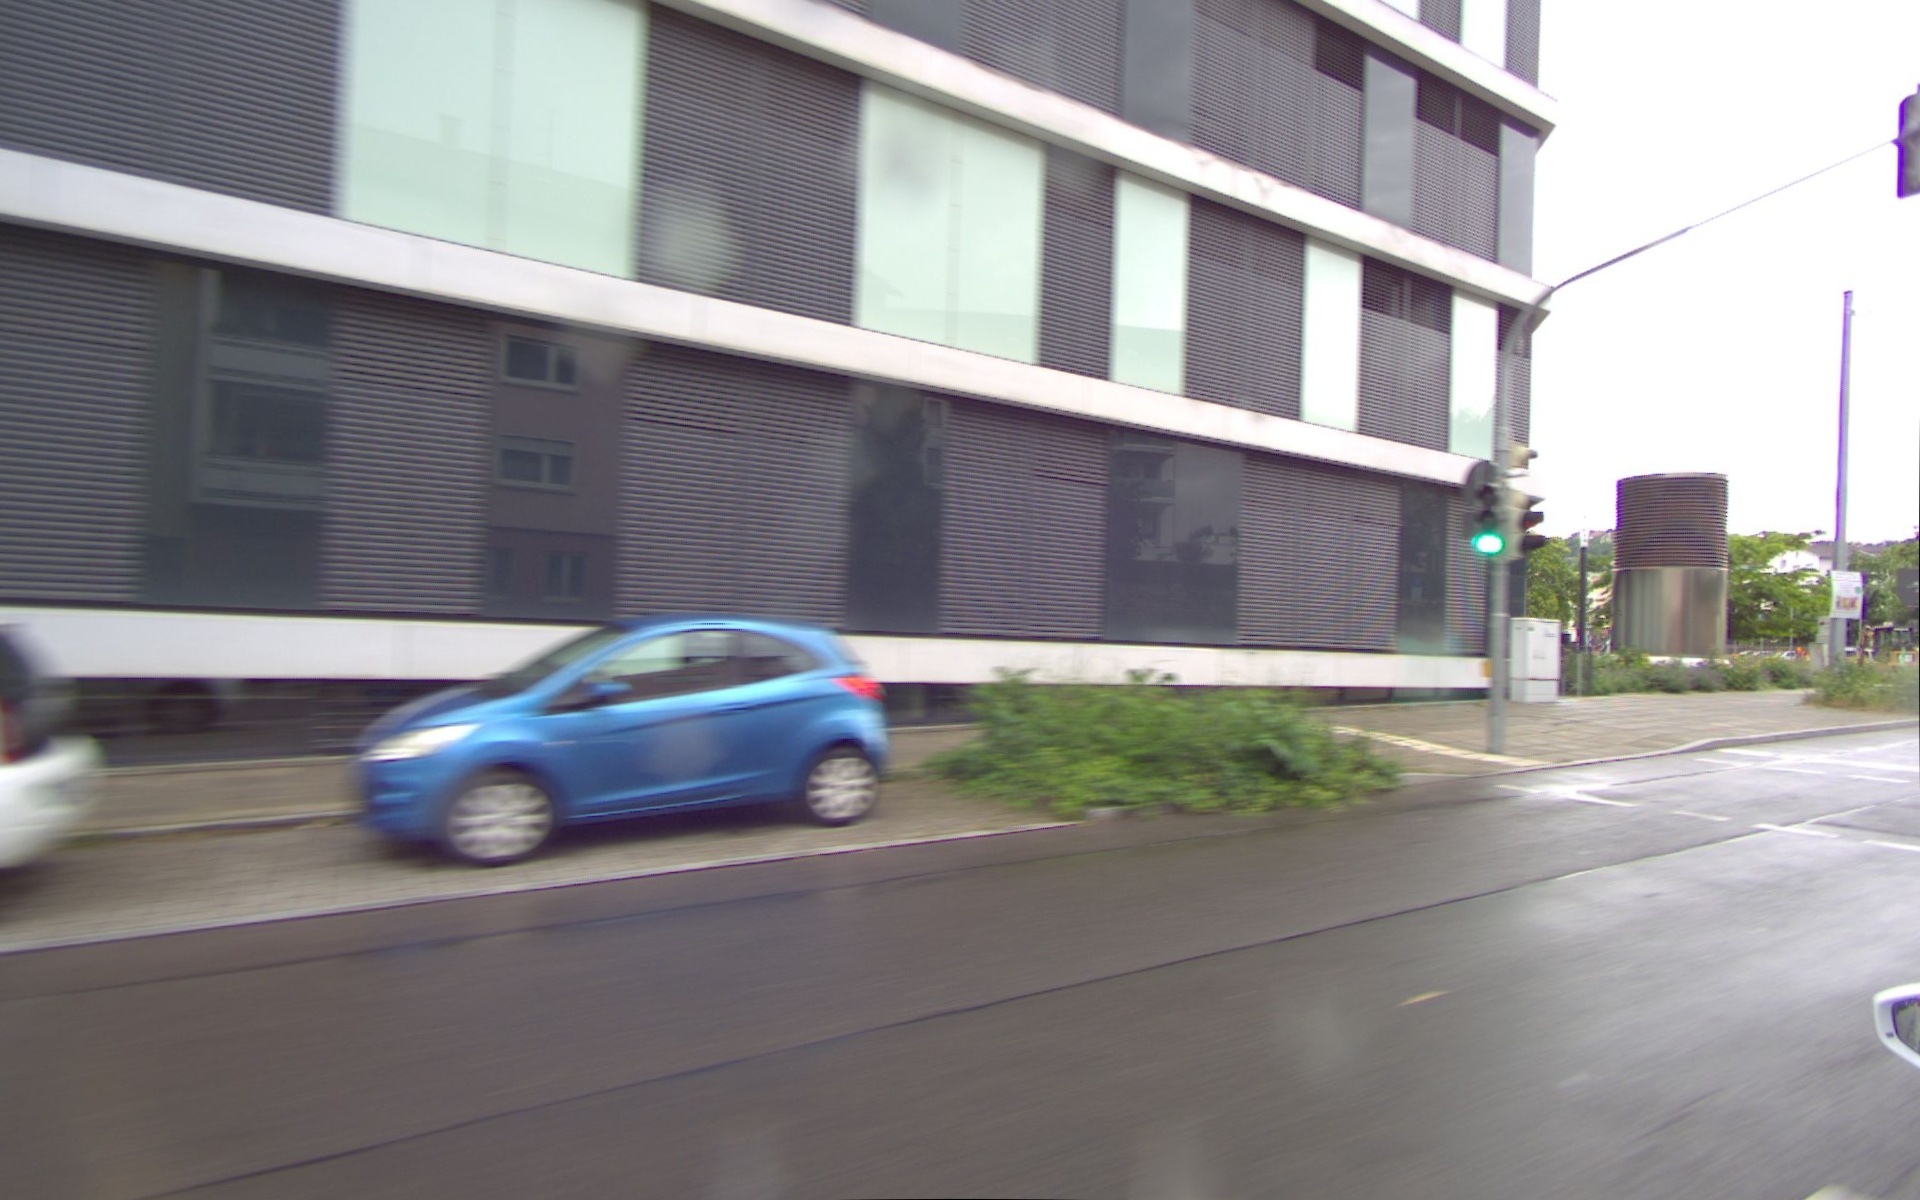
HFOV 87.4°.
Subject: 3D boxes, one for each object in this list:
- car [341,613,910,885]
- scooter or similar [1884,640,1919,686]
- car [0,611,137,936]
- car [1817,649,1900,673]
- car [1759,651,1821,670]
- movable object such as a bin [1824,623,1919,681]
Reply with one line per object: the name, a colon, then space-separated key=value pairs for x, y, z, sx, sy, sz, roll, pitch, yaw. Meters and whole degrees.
car: x=-2.295 y=0.869 z=7.139 sx=3.545 sy=1.486 sz=1.628 roll=2 pitch=-1 yaw=-33
scooter or similar: x=26.744 y=1.785 z=28.435 sx=1.217 sy=1.265 sz=0.494 roll=3 pitch=-1 yaw=-30
car: x=-6.175 y=0.764 z=4.524 sx=3.542 sy=1.486 sz=1.629 roll=2 pitch=-1 yaw=-30
car: x=72.543 y=4.926 z=81.152 sx=4.597 sy=1.858 sz=2.002 roll=0 pitch=-2 yaw=11
car: x=75.088 y=5.463 z=90.940 sx=3.919 sy=1.647 sz=1.802 roll=0 pitch=-2 yaw=11
movable object such as a bin: x=42.334 y=2.360 z=46.552 sx=1.638 sy=2.491 sz=5.289 roll=1 pitch=-2 yaw=20
